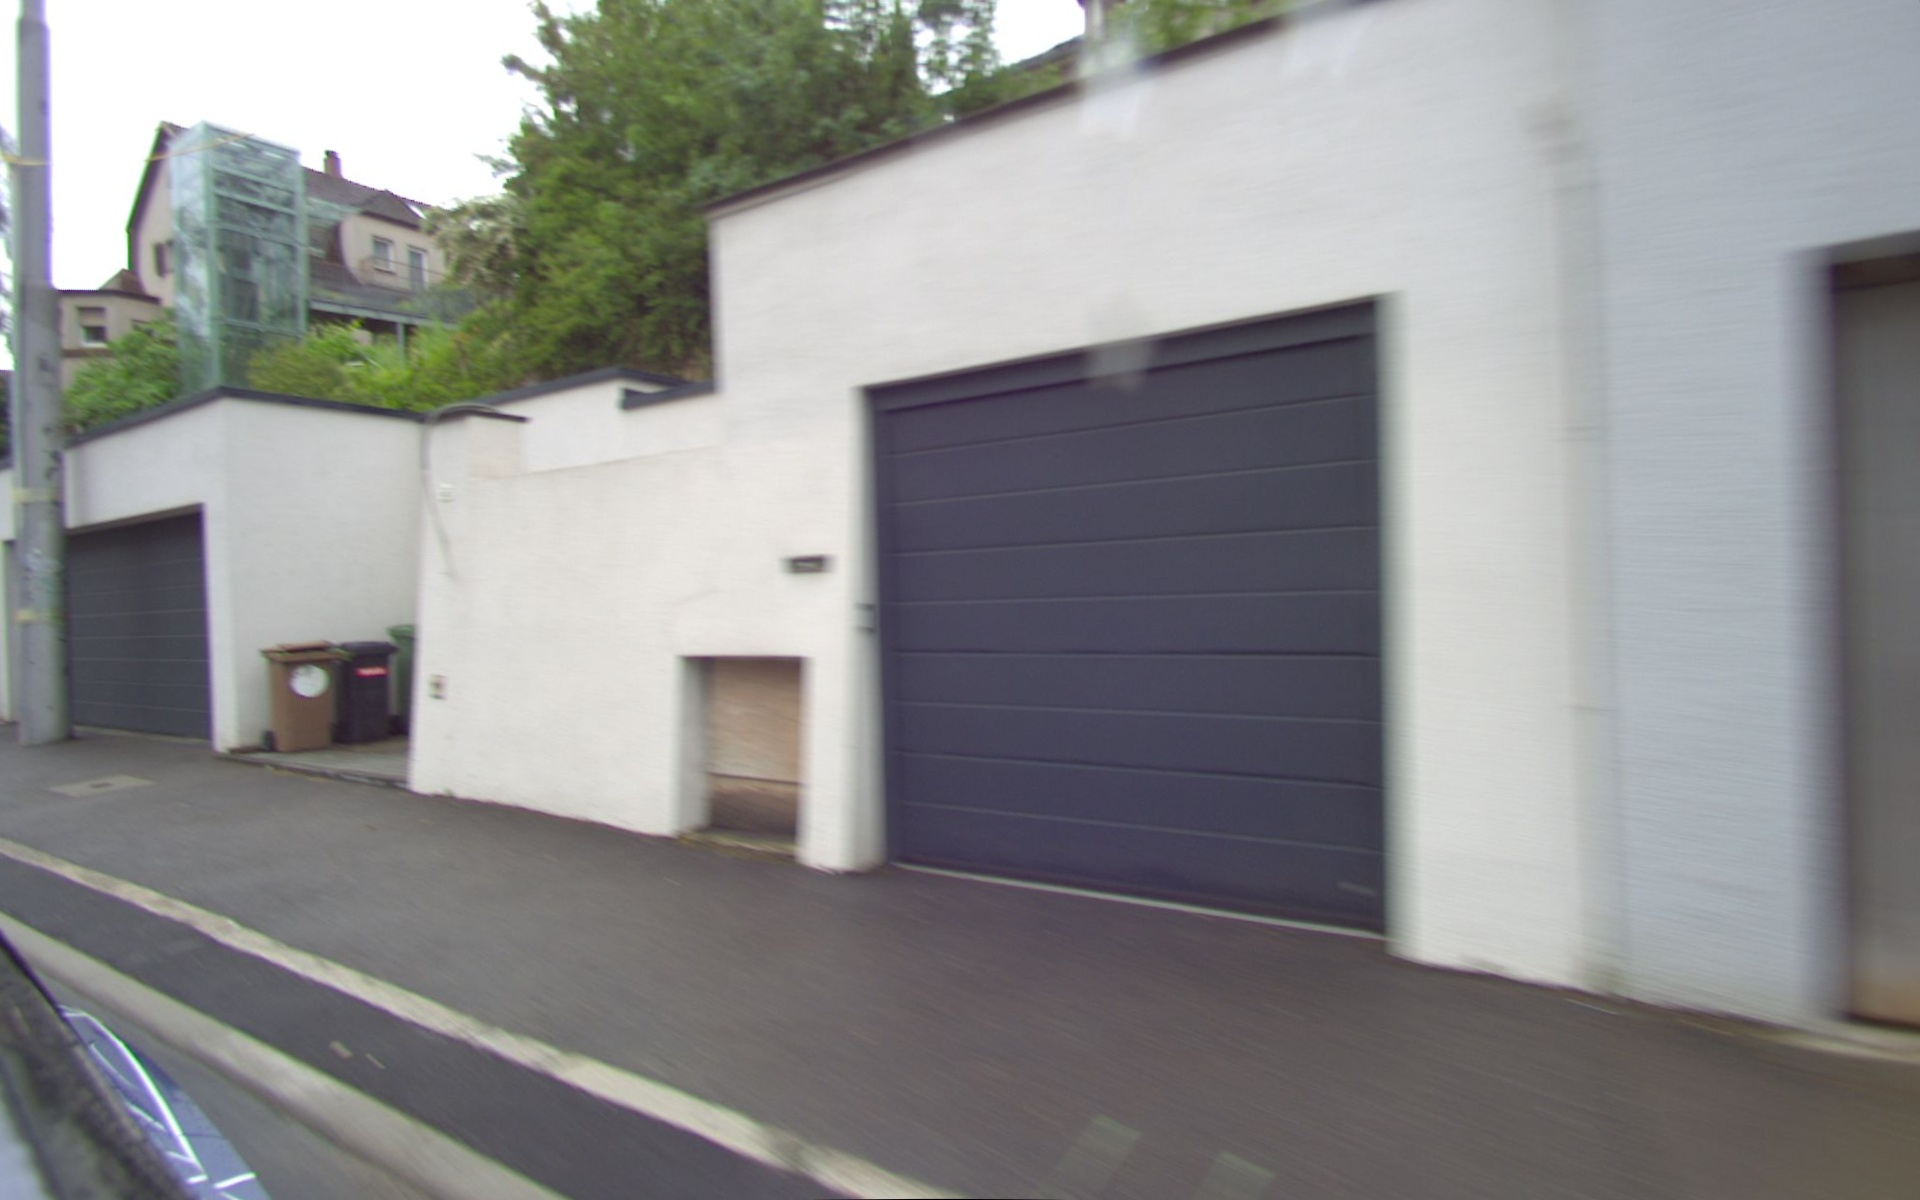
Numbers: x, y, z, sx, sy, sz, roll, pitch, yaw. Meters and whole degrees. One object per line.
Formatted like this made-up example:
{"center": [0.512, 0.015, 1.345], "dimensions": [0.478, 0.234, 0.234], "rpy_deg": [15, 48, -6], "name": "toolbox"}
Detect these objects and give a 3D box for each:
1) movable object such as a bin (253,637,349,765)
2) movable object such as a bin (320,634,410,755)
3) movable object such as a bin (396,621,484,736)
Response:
{"center": [-5.756, 0.861, 8.848], "dimensions": [0.521, 1.029, 0.500], "rpy_deg": [0, 2, 32], "name": "movable object such as a bin"}
{"center": [-5.445, 0.847, 9.269], "dimensions": [0.521, 1.029, 0.500], "rpy_deg": [0, 2, 32], "name": "movable object such as a bin"}
{"center": [-4.969, 0.729, 9.674], "dimensions": [0.585, 1.029, 0.500], "rpy_deg": [0, 2, 32], "name": "movable object such as a bin"}
